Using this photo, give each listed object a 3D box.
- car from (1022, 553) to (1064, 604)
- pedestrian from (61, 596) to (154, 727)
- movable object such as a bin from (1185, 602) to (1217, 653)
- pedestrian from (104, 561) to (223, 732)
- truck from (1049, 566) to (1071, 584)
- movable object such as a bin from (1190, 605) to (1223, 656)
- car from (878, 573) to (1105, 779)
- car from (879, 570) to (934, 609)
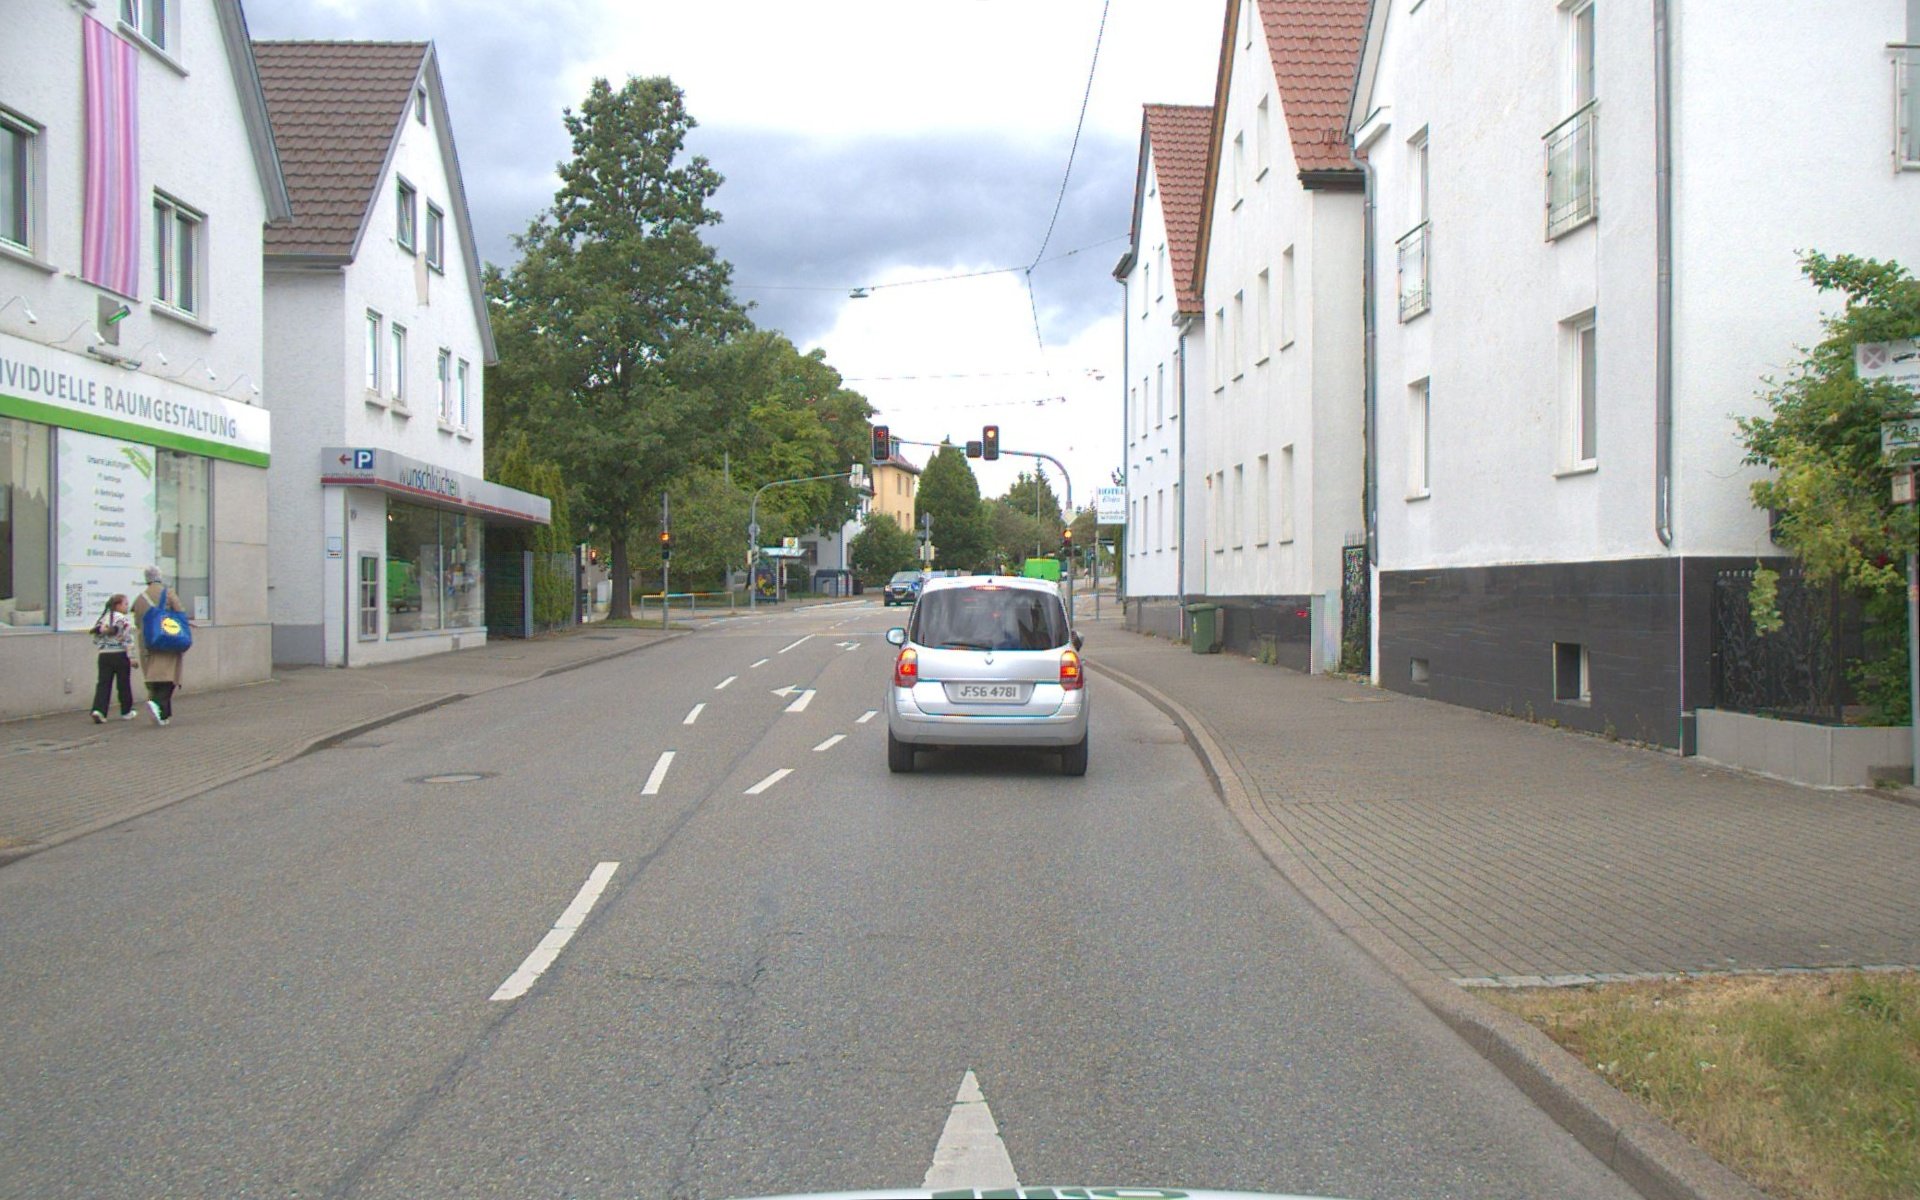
[{"bbox_3d":[4.338,-1.101,85.901,2.016,2.556,5.598,1,0,4],"label":"car"},{"bbox_3d":[-8.788,0.620,17.070,0.587,1.302,0.655,2,0,-1],"label":"pedestrian"},{"bbox_3d":[4.708,0.538,32.323,0.529,0.957,0.487,-2,0,0],"label":"movable object such as a bin"},{"bbox_3d":[-8.058,0.459,16.768,0.736,1.645,0.792,3,0,-1],"label":"pedestrian"},{"bbox_3d":[11.910,-2.972,196.048,2.056,2.049,5.752,1,0,9],"label":"truck"},{"bbox_3d":[4.737,0.581,31.787,0.529,0.957,0.487,-2,0,0],"label":"movable object such as a bin"},{"bbox_3d":[0.220,0.578,14.705,1.719,1.557,3.999,1,0,-1],"label":"car"},{"bbox_3d":[-2.680,-0.547,83.615,1.885,1.804,4.004,-4,0,10],"label":"car"}]
